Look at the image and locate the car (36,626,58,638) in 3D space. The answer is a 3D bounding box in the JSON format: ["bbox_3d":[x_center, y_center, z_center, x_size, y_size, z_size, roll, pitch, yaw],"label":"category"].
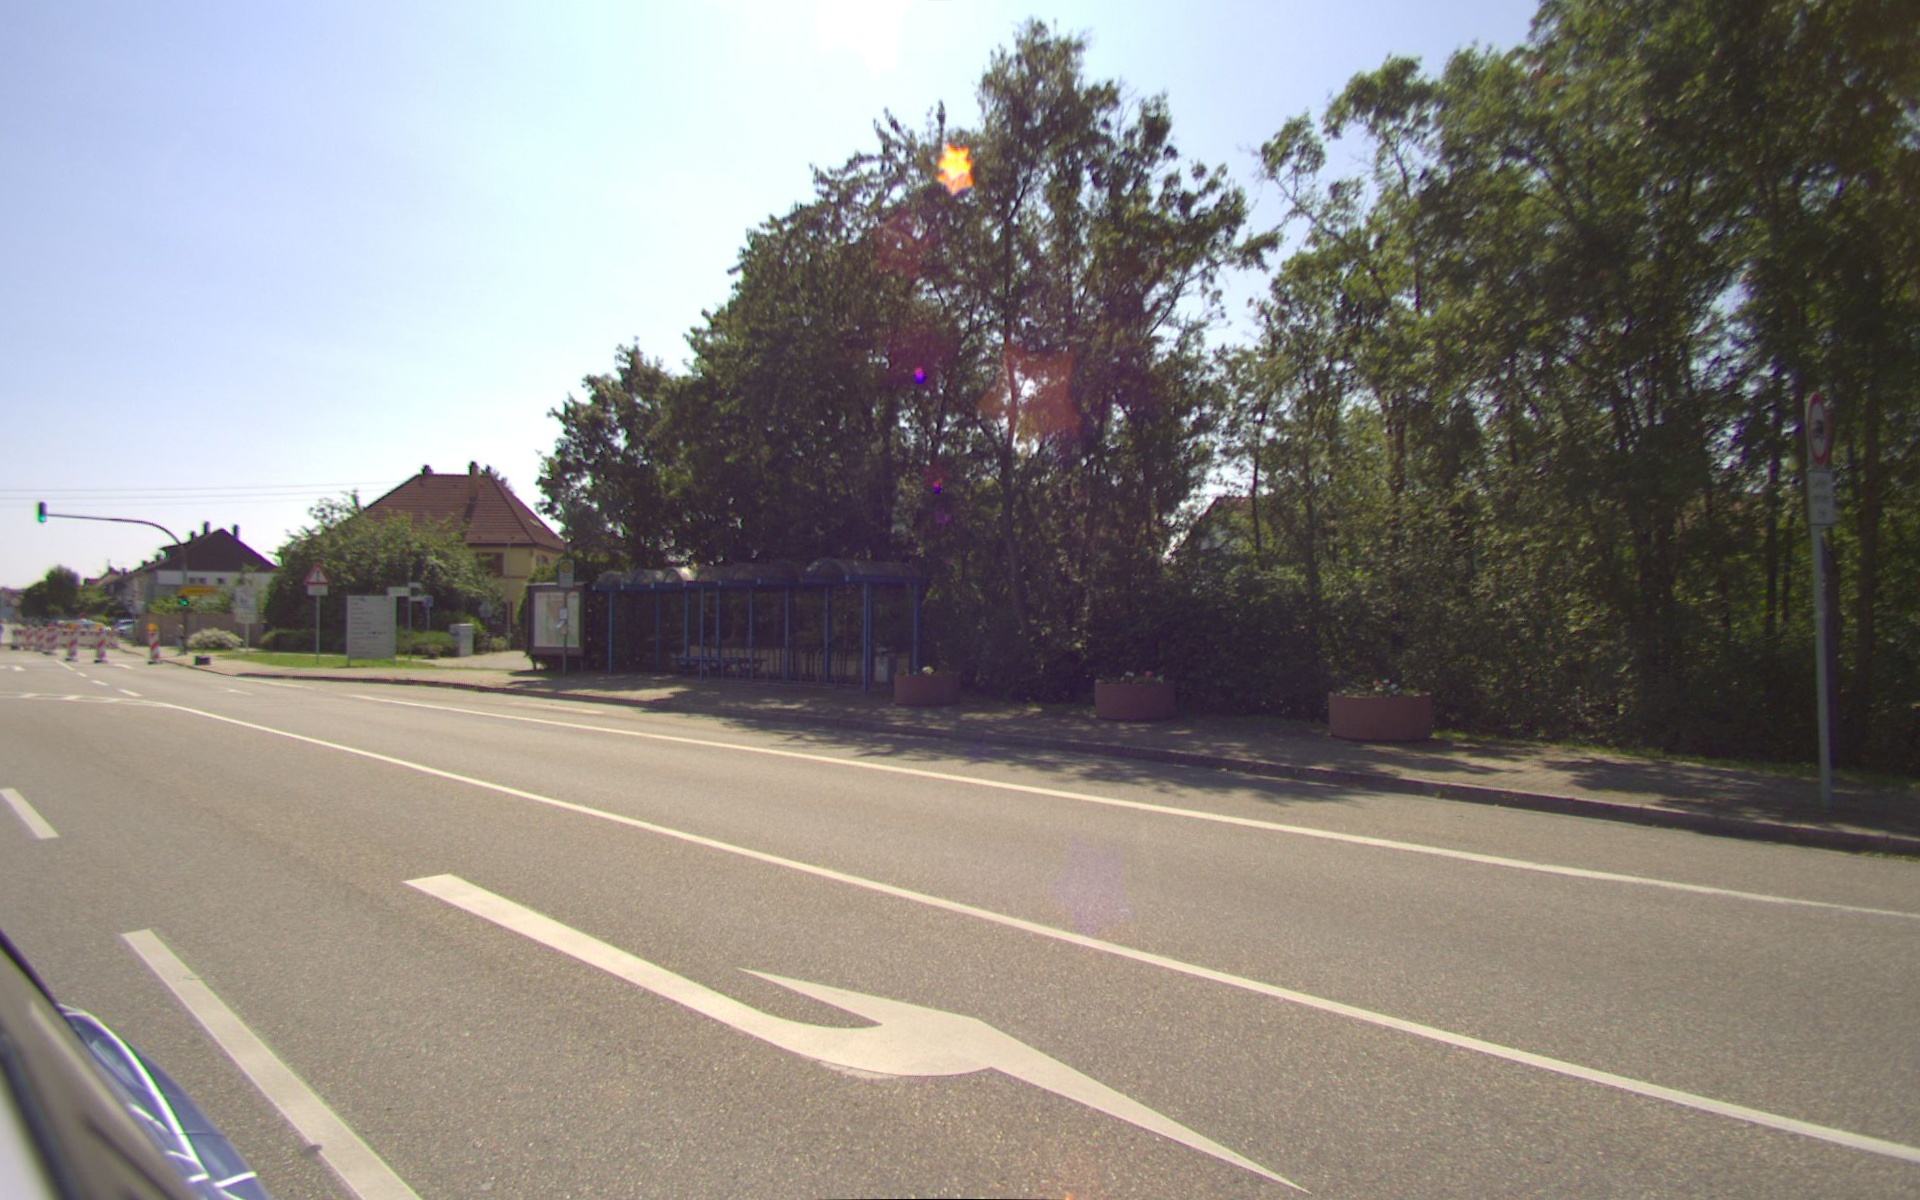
[{"bbox_3d":[-112.343,3.877,124.456,3.917,1.428,1.715,-1,-1,44],"label":"car"}]

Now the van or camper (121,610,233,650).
[{"bbox_3d":[-58.325,2.223,75.521,2.286,2.866,6.185,-1,-2,36],"label":"van or camper"}]

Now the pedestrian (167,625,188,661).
[{"bbox_3d":[-36.386,1.998,47.063,0.607,1.620,0.688,-3,1,-44],"label":"pedestrian"}]
